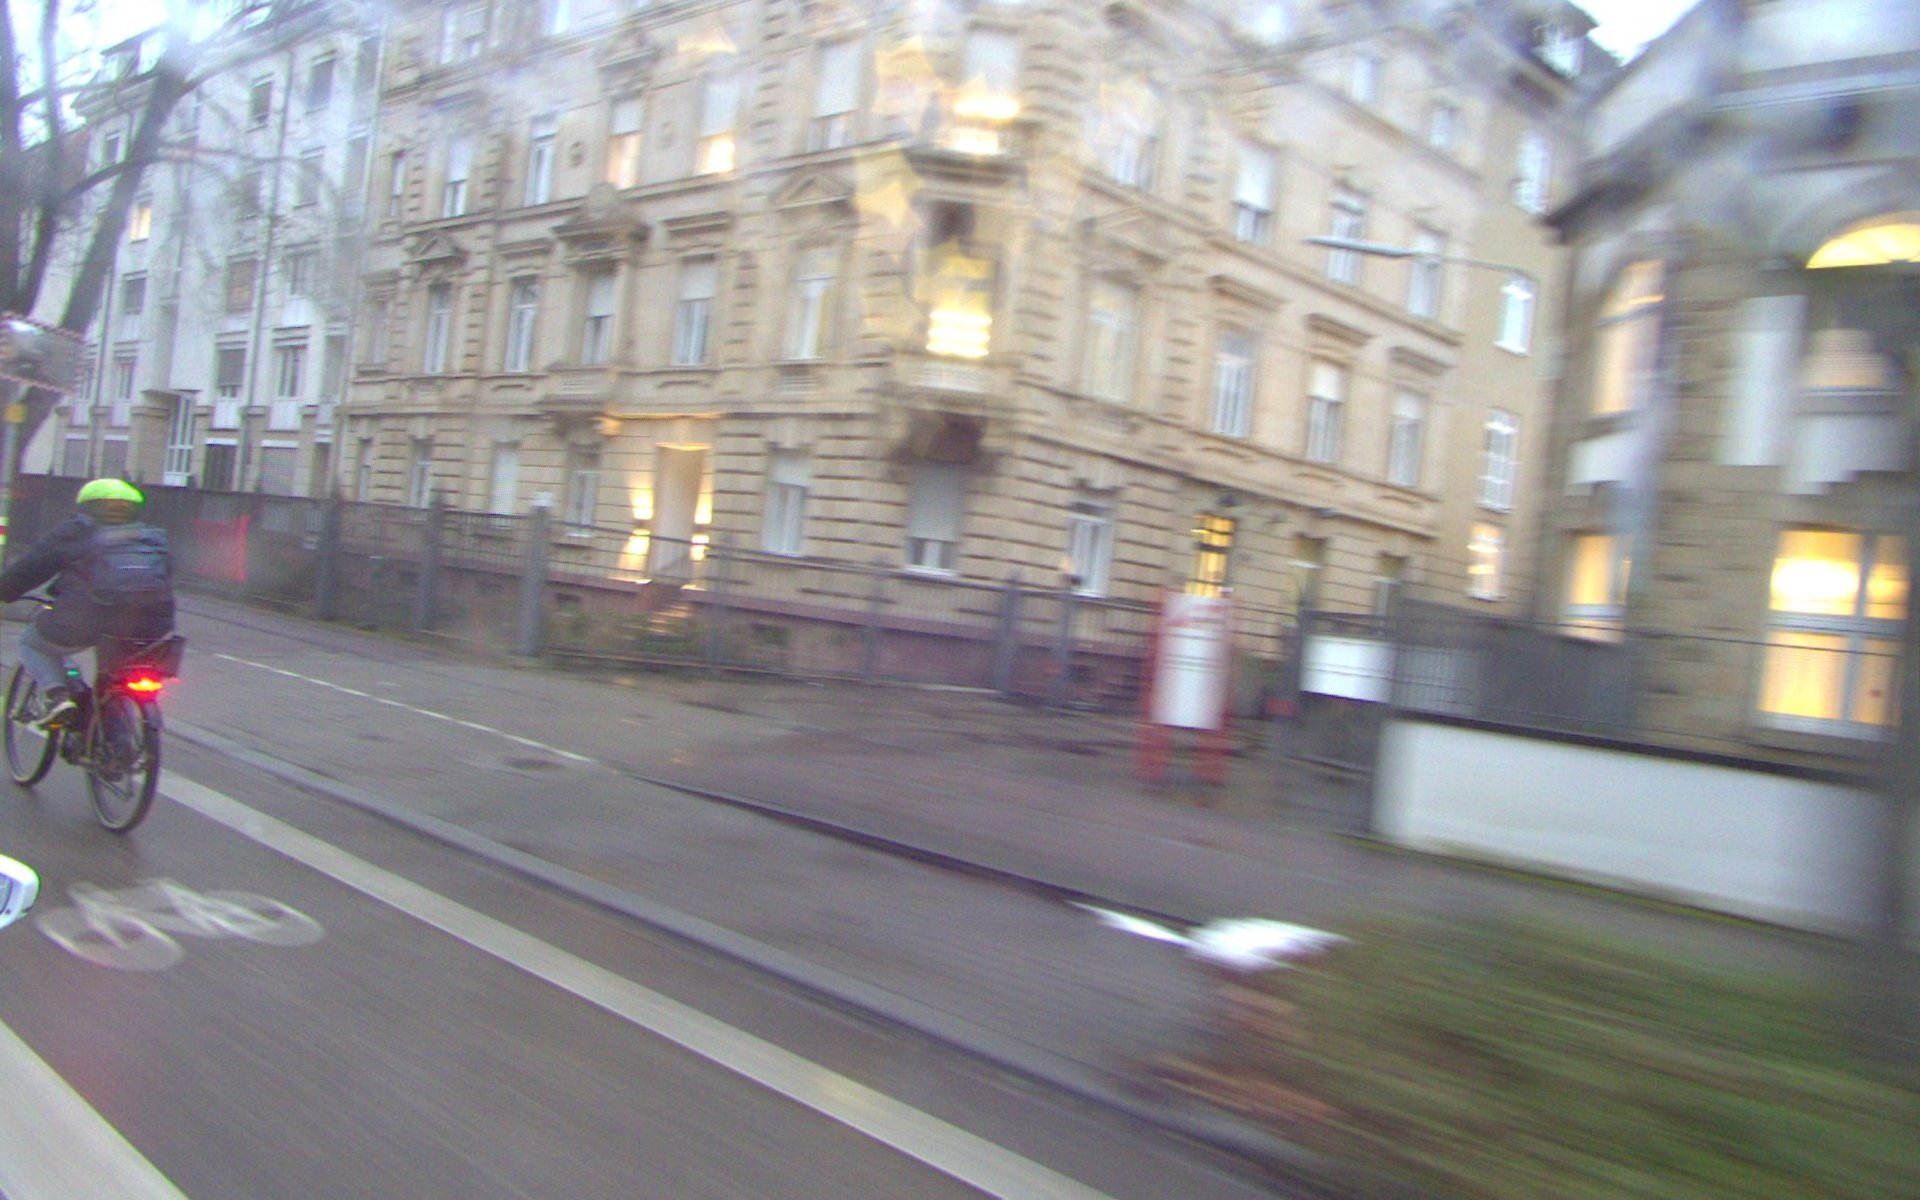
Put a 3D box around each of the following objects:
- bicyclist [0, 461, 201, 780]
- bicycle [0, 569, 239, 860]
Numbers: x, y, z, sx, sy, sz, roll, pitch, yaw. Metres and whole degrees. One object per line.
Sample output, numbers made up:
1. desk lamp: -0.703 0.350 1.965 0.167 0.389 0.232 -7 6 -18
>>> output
1. bicyclist: -4.491 0.085 5.133 0.836 1.464 0.656 8 1 35
2. bicycle: -4.586 0.488 5.188 1.997 1.110 0.707 8 1 35
